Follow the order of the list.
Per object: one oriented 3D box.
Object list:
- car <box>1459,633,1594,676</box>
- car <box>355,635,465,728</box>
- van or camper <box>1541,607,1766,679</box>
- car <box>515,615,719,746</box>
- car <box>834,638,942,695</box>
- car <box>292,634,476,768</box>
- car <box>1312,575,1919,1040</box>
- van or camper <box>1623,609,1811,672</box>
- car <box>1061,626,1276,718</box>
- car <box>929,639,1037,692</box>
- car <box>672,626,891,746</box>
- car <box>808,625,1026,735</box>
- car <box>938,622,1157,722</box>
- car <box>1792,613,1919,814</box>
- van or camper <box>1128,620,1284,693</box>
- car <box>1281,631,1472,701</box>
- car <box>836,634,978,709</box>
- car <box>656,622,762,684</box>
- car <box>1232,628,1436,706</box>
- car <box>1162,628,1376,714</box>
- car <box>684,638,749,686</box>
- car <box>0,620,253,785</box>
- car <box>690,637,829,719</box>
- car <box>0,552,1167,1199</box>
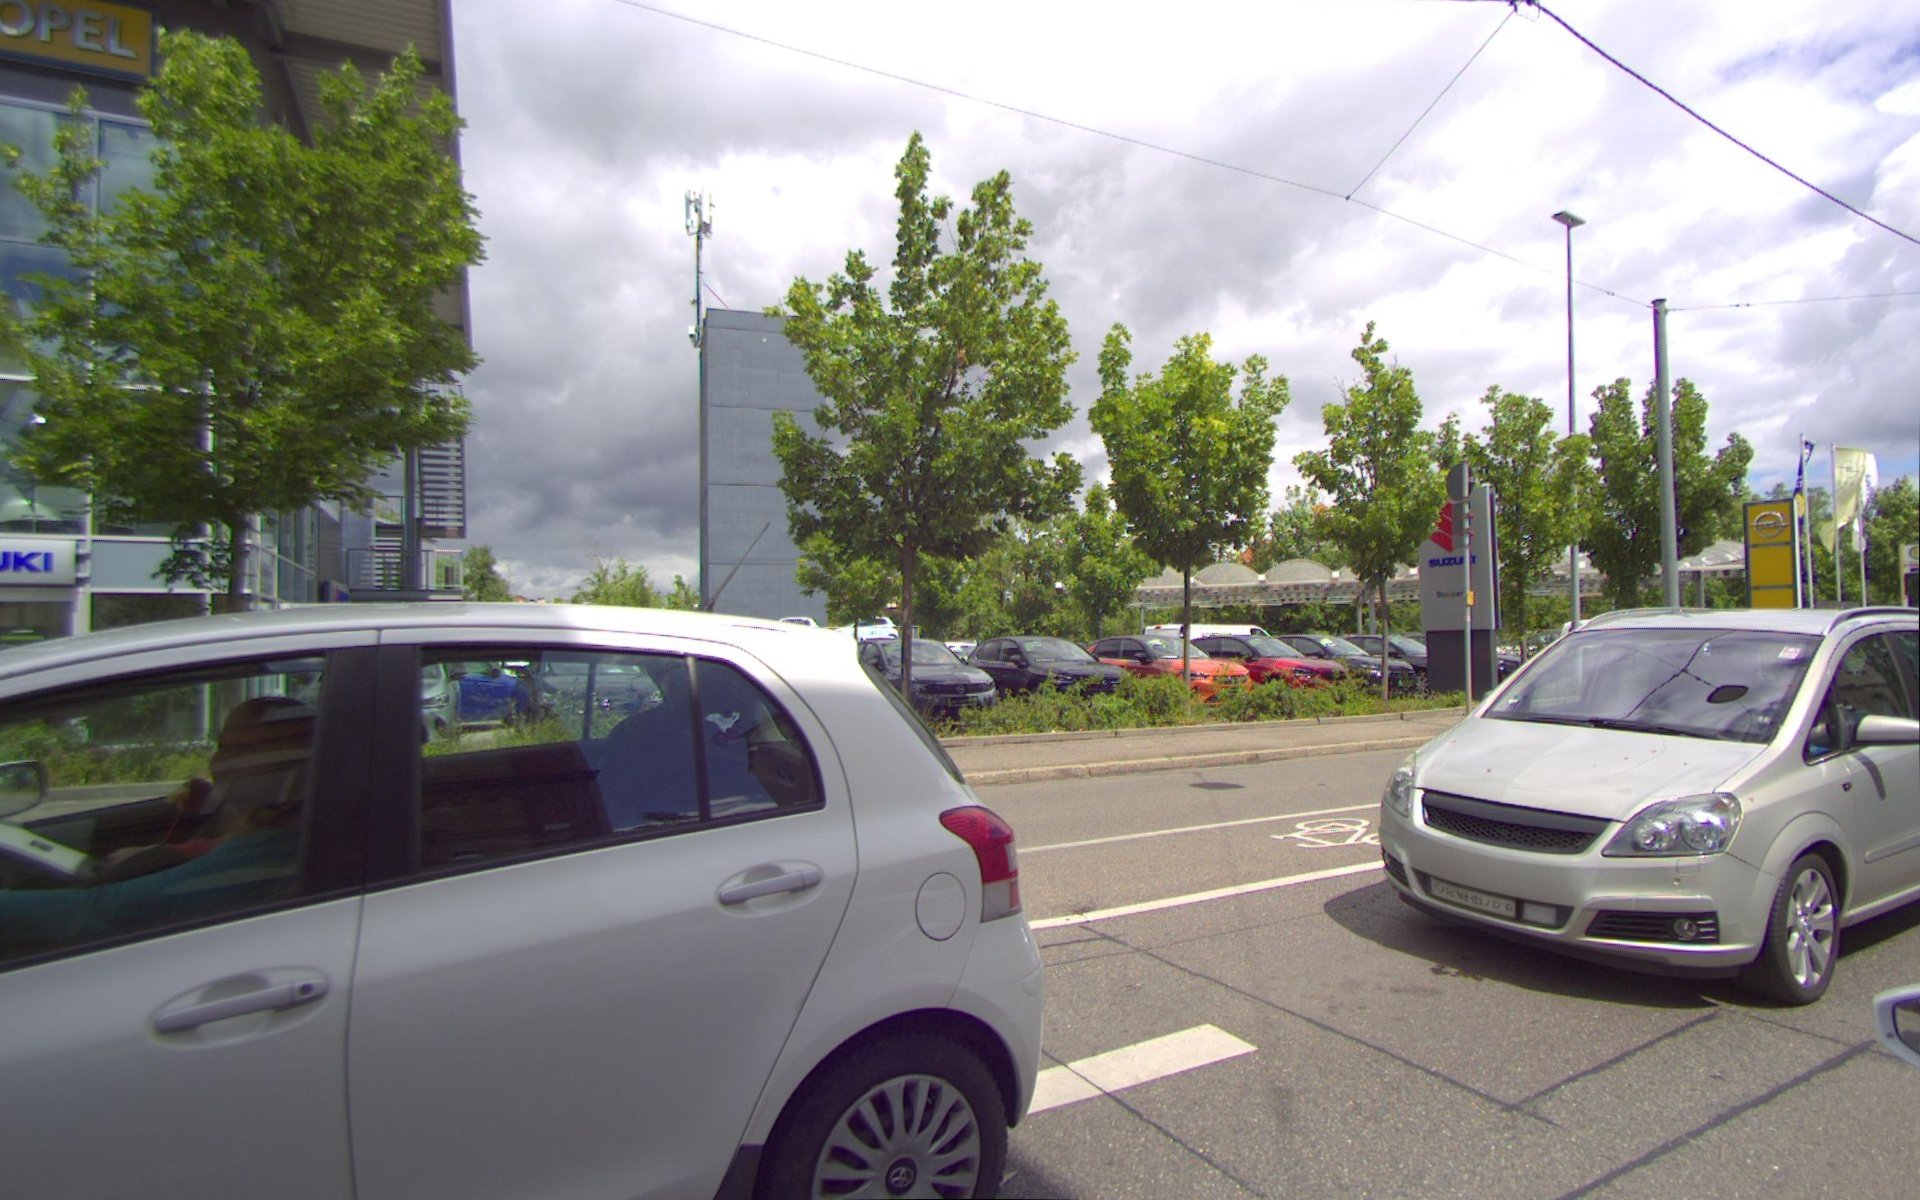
[{"bbox_3d":[20.248,1.941,36.082,3.921,1.486,1.818,-1,-2,19],"label":"car"},{"bbox_3d":[-9.379,1.340,17.048,1.501,1.391,2.996,0,-3,-32],"label":"car"},{"bbox_3d":[18.759,1.187,27.422,1.975,1.772,4.650,0,-3,-28],"label":"van or camper"},{"bbox_3d":[-4.911,1.058,13.980,1.792,1.517,4.185,0,-3,-32],"label":"car"},{"bbox_3d":[-1.982,1.761,26.927,1.501,1.391,3.298,0,-3,-33],"label":"car"},{"bbox_3d":[-7.405,1.211,13.079,1.790,1.412,4.051,0,-3,-29],"label":"car"},{"bbox_3d":[4.007,0.779,5.293,4.267,1.602,1.711,2,-1,-30],"label":"car"},{"bbox_3d":[25.524,1.344,33.999,4.861,1.989,1.990,-1,-1,-1],"label":"van or camper"},{"bbox_3d":[3.779,1.311,18.808,1.793,1.517,3.807,0,-3,-32],"label":"car"},{"bbox_3d":[0.613,1.872,28.982,1.501,1.391,3.298,0,-3,-33],"label":"car"},{"bbox_3d":[-2.847,1.226,15.181,1.792,1.517,4.257,0,-3,-32],"label":"car"},{"bbox_3d":[-0.840,1.246,16.366,1.792,1.517,4.034,0,-3,-32],"label":"car"},{"bbox_3d":[1.402,1.220,17.657,1.793,1.517,3.961,0,-3,-32],"label":"car"},{"bbox_3d":[9.506,0.964,9.082,4.201,1.602,1.711,2,-1,-30],"label":"car"},{"bbox_3d":[7.562,1.680,30.759,4.636,2.040,1.982,0,-3,-34],"label":"van or camper"},{"bbox_3d":[9.764,1.541,23.773,1.755,1.480,3.810,0,-3,-34],"label":"car"},{"bbox_3d":[-1.174,1.462,20.919,1.501,1.391,3.298,0,-3,-33],"label":"car"},{"bbox_3d":[-6.122,1.284,24.318,1.501,1.391,3.298,0,-3,-33],"label":"car"},{"bbox_3d":[8.067,1.449,21.947,1.795,1.517,3.789,0,-3,-35],"label":"car"},{"bbox_3d":[6.066,1.385,20.115,1.793,1.517,3.827,0,-3,-33],"label":"car"},{"bbox_3d":[-10.818,2.697,44.481,1.974,1.835,3.974,2,0,-26],"label":"car"},{"bbox_3d":[-9.430,1.073,11.448,1.790,1.517,3.971,0,-3,-29],"label":"car"},{"bbox_3d":[-3.916,1.451,19.239,1.501,1.391,3.298,0,-3,-33],"label":"car"},{"bbox_3d":[-1.646,0.748,2.119,3.953,1.602,1.711,2,-1,-30],"label":"car"}]
